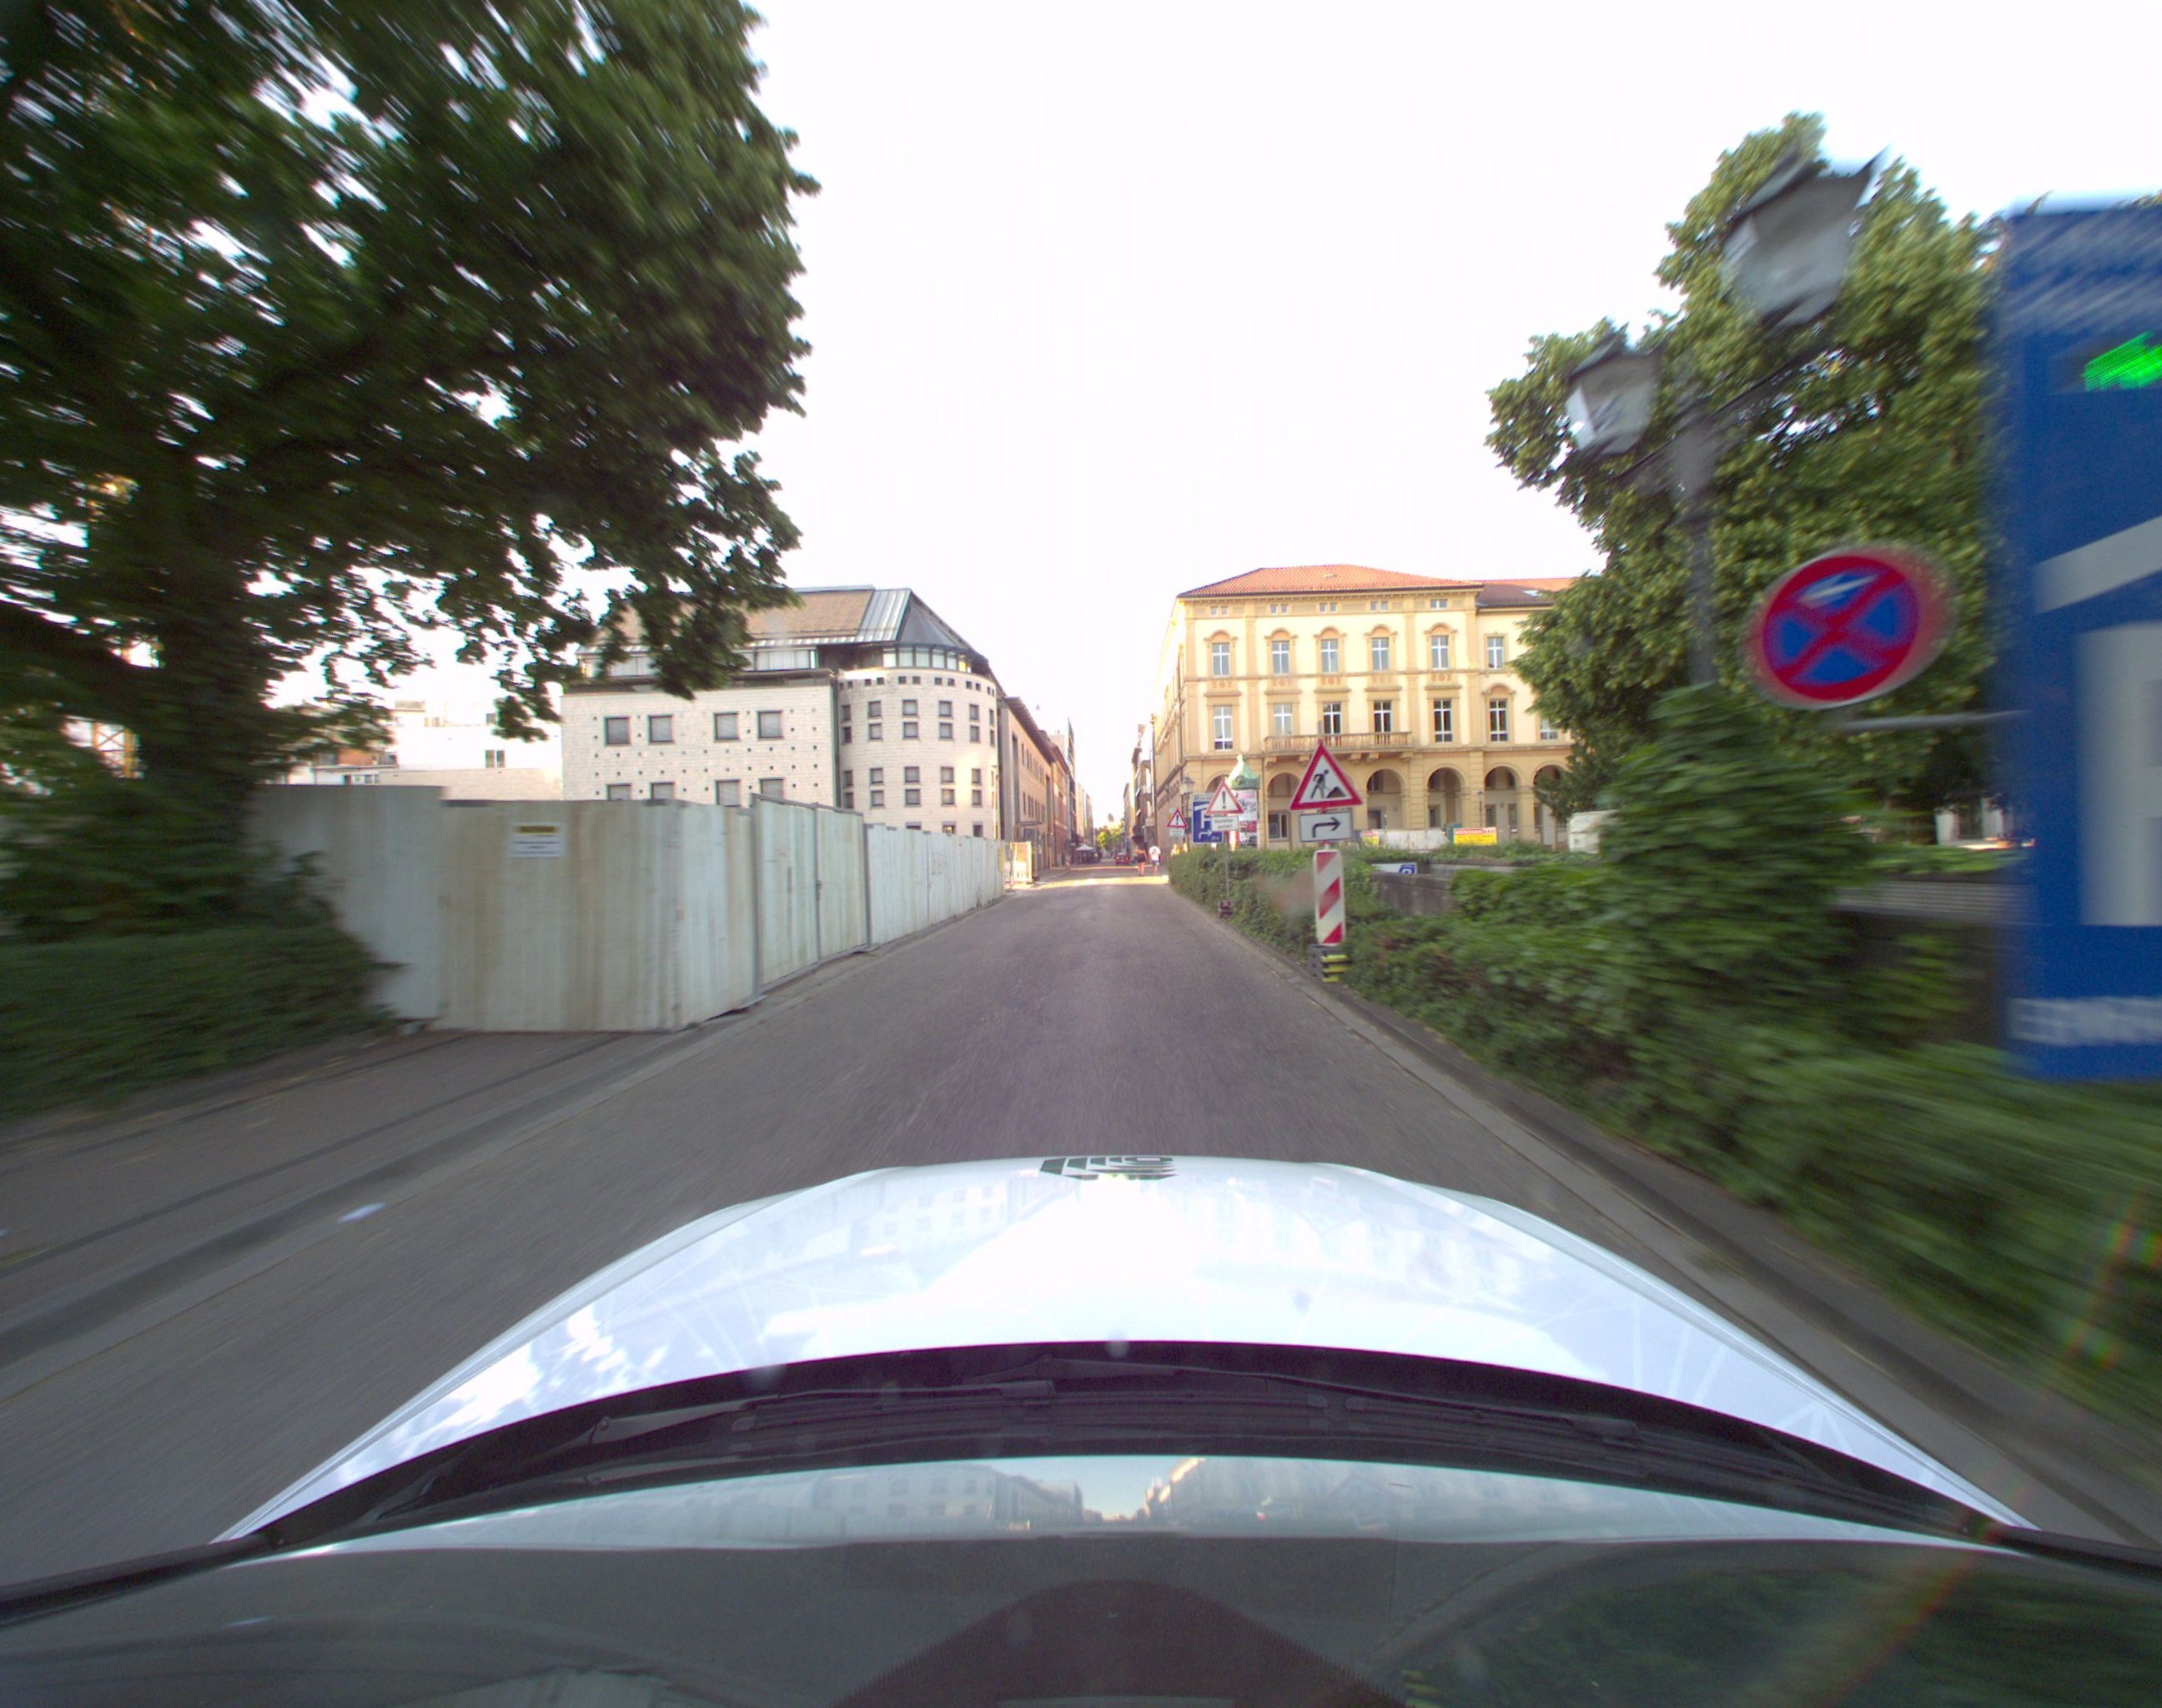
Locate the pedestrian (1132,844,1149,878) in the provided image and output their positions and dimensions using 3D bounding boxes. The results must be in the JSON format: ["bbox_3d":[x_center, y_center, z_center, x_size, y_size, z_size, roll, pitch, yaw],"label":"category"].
[{"bbox_3d":[3.200,0.378,43.967,0.773,1.746,0.875,-2,-1,1],"label":"pedestrian"}]

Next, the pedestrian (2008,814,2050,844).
[{"bbox_3d":[41.004,-1.088,35.225,0.705,1.252,0.926,-2,0,-3],"label":"pedestrian"}]

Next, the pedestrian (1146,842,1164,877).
[{"bbox_3d":[4.011,0.292,44.065,0.809,1.875,0.875,-2,-1,1],"label":"pedestrian"}]

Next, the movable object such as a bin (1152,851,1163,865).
[{"bbox_3d":[7.691,0.412,82.069,0.987,1.392,1.241,-3,0,1],"label":"movable object such as a bin"}]

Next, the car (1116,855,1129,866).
[{"bbox_3d":[5.234,0.833,103.162,1.643,1.427,3.537,1,0,3],"label":"car"}]

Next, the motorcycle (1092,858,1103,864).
[{"bbox_3d":[2.879,1.234,143.105,1.797,0.875,0.560,-2,-1,-3],"label":"motorcycle"}]

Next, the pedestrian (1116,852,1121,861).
[{"bbox_3d":[7.552,0.542,163.240,0.862,1.713,0.852,-2,-1,2],"label":"pedestrian"}]

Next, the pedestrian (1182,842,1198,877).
[{"bbox_3d":[5.689,0.278,42.554,0.634,1.803,0.772,-2,-1,1],"label":"pedestrian"}]

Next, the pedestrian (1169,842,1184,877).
[{"bbox_3d":[5.009,0.298,42.547,0.634,1.803,0.772,-2,-1,1],"label":"pedestrian"}]

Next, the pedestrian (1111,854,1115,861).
[{"bbox_3d":[6.911,0.745,177.756,0.801,1.672,0.889,-2,-1,4],"label":"pedestrian"}]

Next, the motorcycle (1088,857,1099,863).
[{"bbox_3d":[2.112,0.985,134.926,1.797,1.040,0.493,-2,-1,-3],"label":"motorcycle"}]
